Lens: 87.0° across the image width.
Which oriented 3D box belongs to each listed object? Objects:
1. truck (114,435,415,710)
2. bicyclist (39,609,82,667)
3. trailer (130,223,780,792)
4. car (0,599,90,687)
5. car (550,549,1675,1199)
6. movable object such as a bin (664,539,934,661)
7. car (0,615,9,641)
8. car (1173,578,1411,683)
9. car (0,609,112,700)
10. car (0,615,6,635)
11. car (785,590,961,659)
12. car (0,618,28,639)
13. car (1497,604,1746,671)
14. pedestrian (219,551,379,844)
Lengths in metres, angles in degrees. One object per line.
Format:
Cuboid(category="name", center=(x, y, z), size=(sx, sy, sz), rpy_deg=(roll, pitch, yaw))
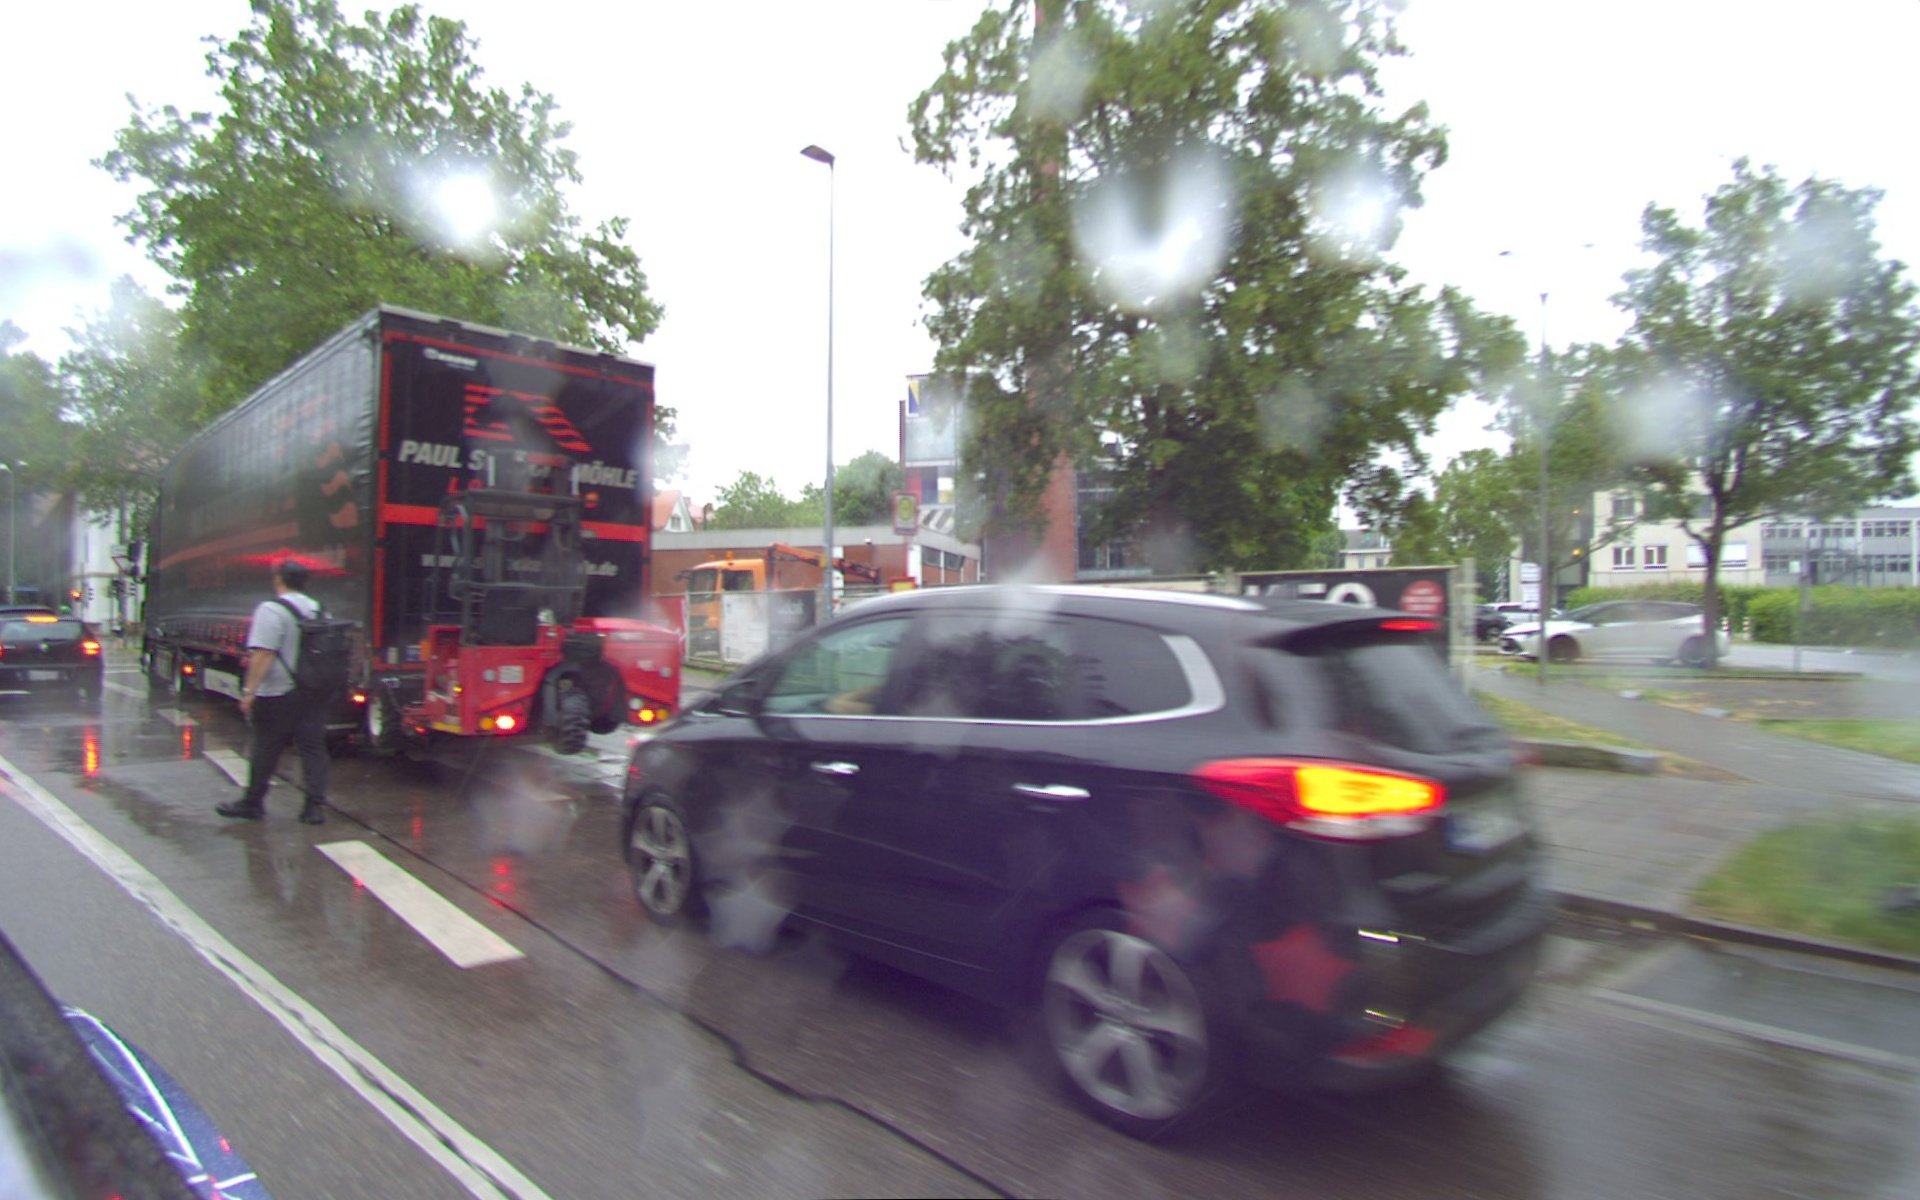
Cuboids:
Cuboid(category="truck", center=(-13.111, -0.343, 18.797), size=(3.411, 4.109, 6.977), rpy_deg=(0, -1, -45))
Cuboid(category="bicyclist", center=(-23.526, 0.992, 26.468), size=(1.008, 1.472, 0.575), rpy_deg=(-1, -2, 32))
Cuboid(category="trailer", center=(-8.202, -0.497, 13.804), size=(3.402, 4.080, 15.059), rpy_deg=(1, -2, -45))
Cuboid(category="car", center=(-20.625, 0.948, 21.762), size=(4.924, 1.695, 2.053), rpy_deg=(-3, 0, 39))
Cuboid(category="car", center=(0.073, 0.689, 4.494), size=(1.845, 1.631, 4.807), rpy_deg=(1, 0, -44))
Cuboid(category="movable object such as a bin", center=(-4.279, 0.015, 27.488), size=(6.665, 2.953, 2.782), rpy_deg=(0, -1, -35))
Cuboid(category="car", center=(-72.044, 2.044, 73.256), size=(4.602, 1.888, 2.035), rpy_deg=(2, -3, -44))
Cuboid(category="car", center=(6.016, 0.568, 18.799), size=(3.961, 1.804, 1.991), rpy_deg=(-1, -2, 14))
Cuboid(category="car", center=(-15.809, 0.889, 17.122), size=(4.098, 1.384, 1.680), rpy_deg=(-2, -2, 42))
Cuboid(category="car", center=(-98.176, 2.450, 100.453), size=(5.014, 2.039, 2.035), rpy_deg=(2, -3, -44))
Cuboid(category="car", center=(-2.155, 0.604, 25.490), size=(3.935, 1.613, 2.004), rpy_deg=(0, -2, -37))
Cuboid(category="car", center=(-64.870, 1.940, 67.423), size=(1.796, 1.364, 3.945), rpy_deg=(-2, -1, 41))
Cuboid(category="car", center=(14.498, 0.825, 22.424), size=(4.267, 1.389, 1.616), rpy_deg=(-1, -2, 14))
Cuboid(category="pedestrian", center=(-4.581, 0.630, 7.064), size=(0.856, 1.857, 0.995), rpy_deg=(1, -2, -32))
